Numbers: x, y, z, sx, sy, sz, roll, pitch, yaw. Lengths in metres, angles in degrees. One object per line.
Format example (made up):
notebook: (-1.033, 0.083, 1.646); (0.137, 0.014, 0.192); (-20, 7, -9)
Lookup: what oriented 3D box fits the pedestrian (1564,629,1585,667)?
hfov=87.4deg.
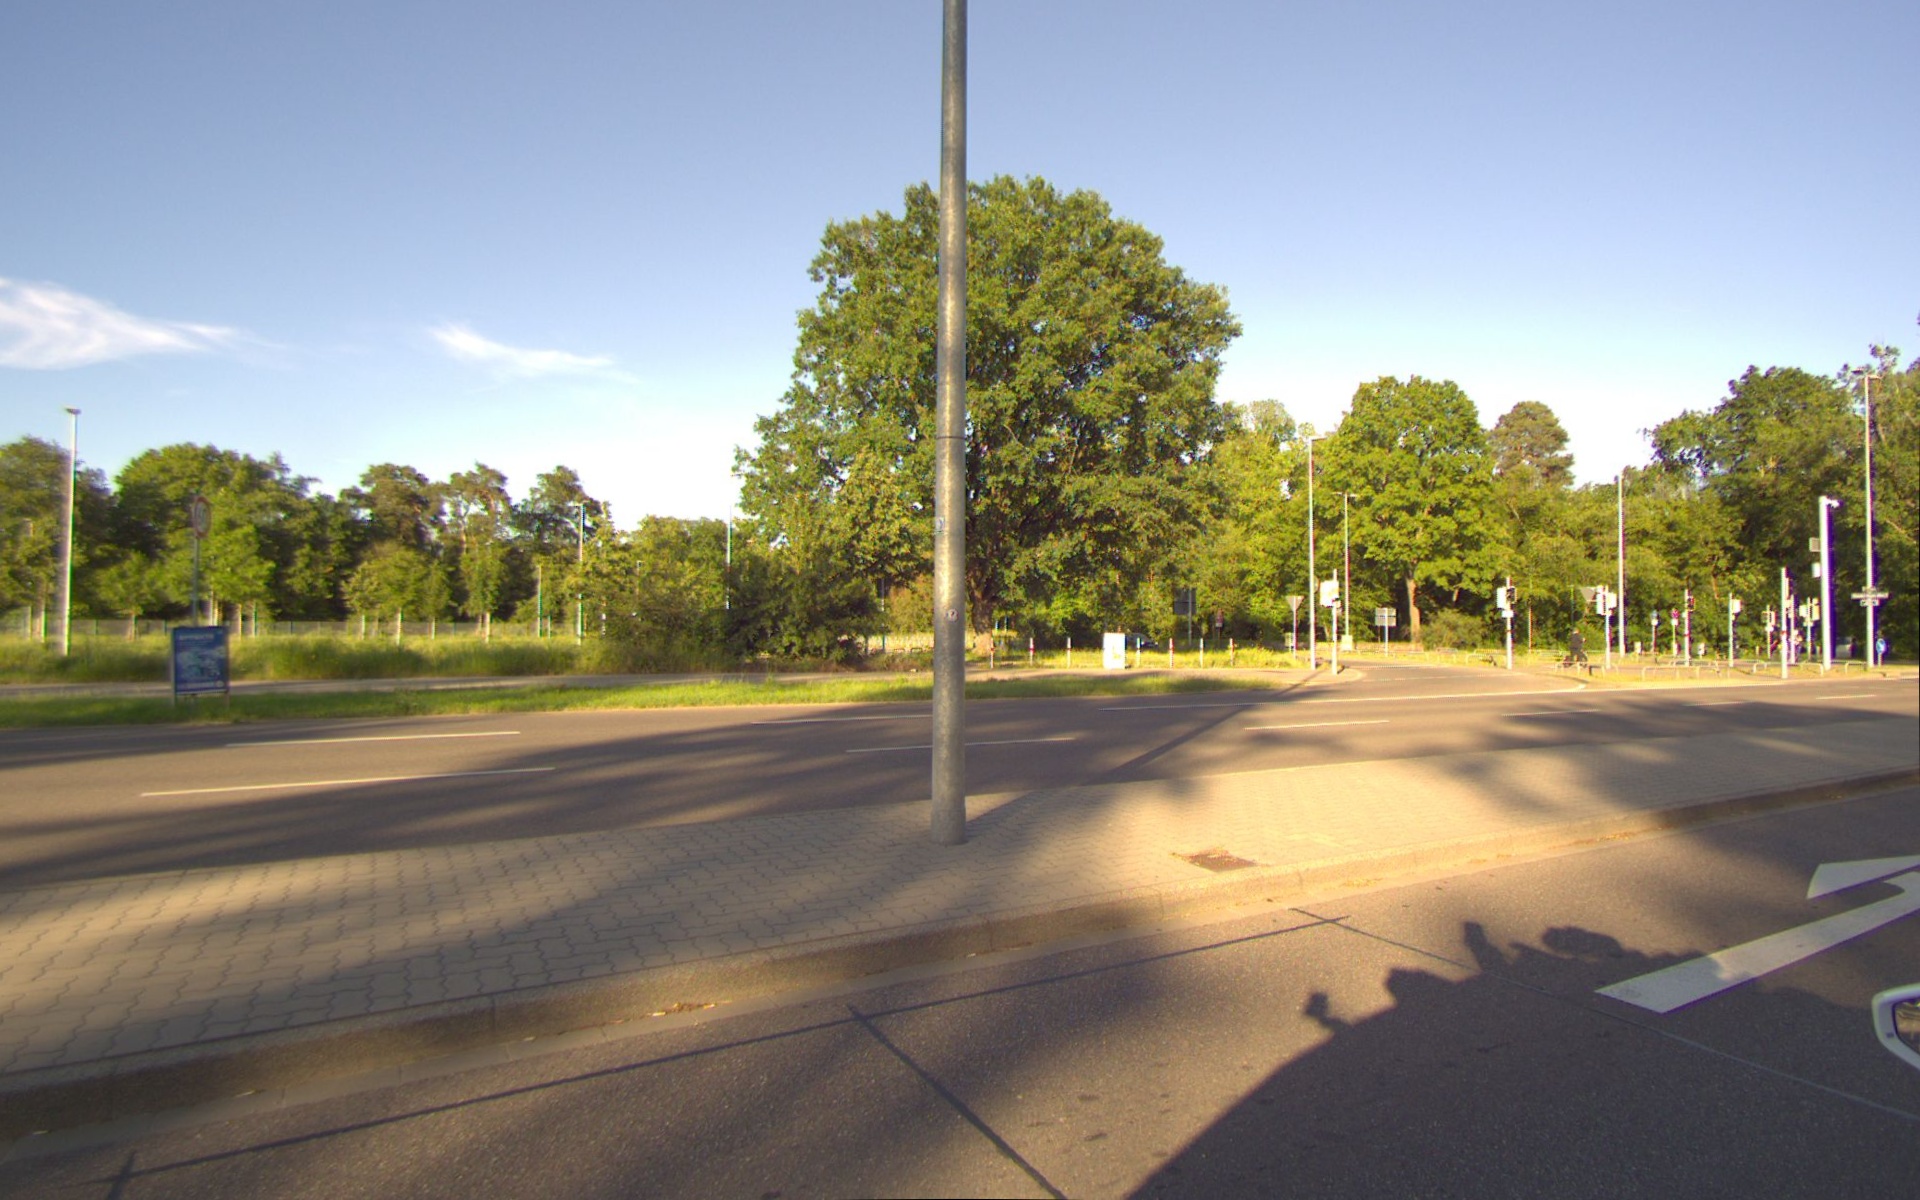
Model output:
pedestrian: (26.168, 2.049, 42.807); (0.636, 1.580, 0.539); (0, -2, 18)

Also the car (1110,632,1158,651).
car: (13.670, 3.256, 79.223); (1.728, 1.405, 4.092); (1, -2, -24)
